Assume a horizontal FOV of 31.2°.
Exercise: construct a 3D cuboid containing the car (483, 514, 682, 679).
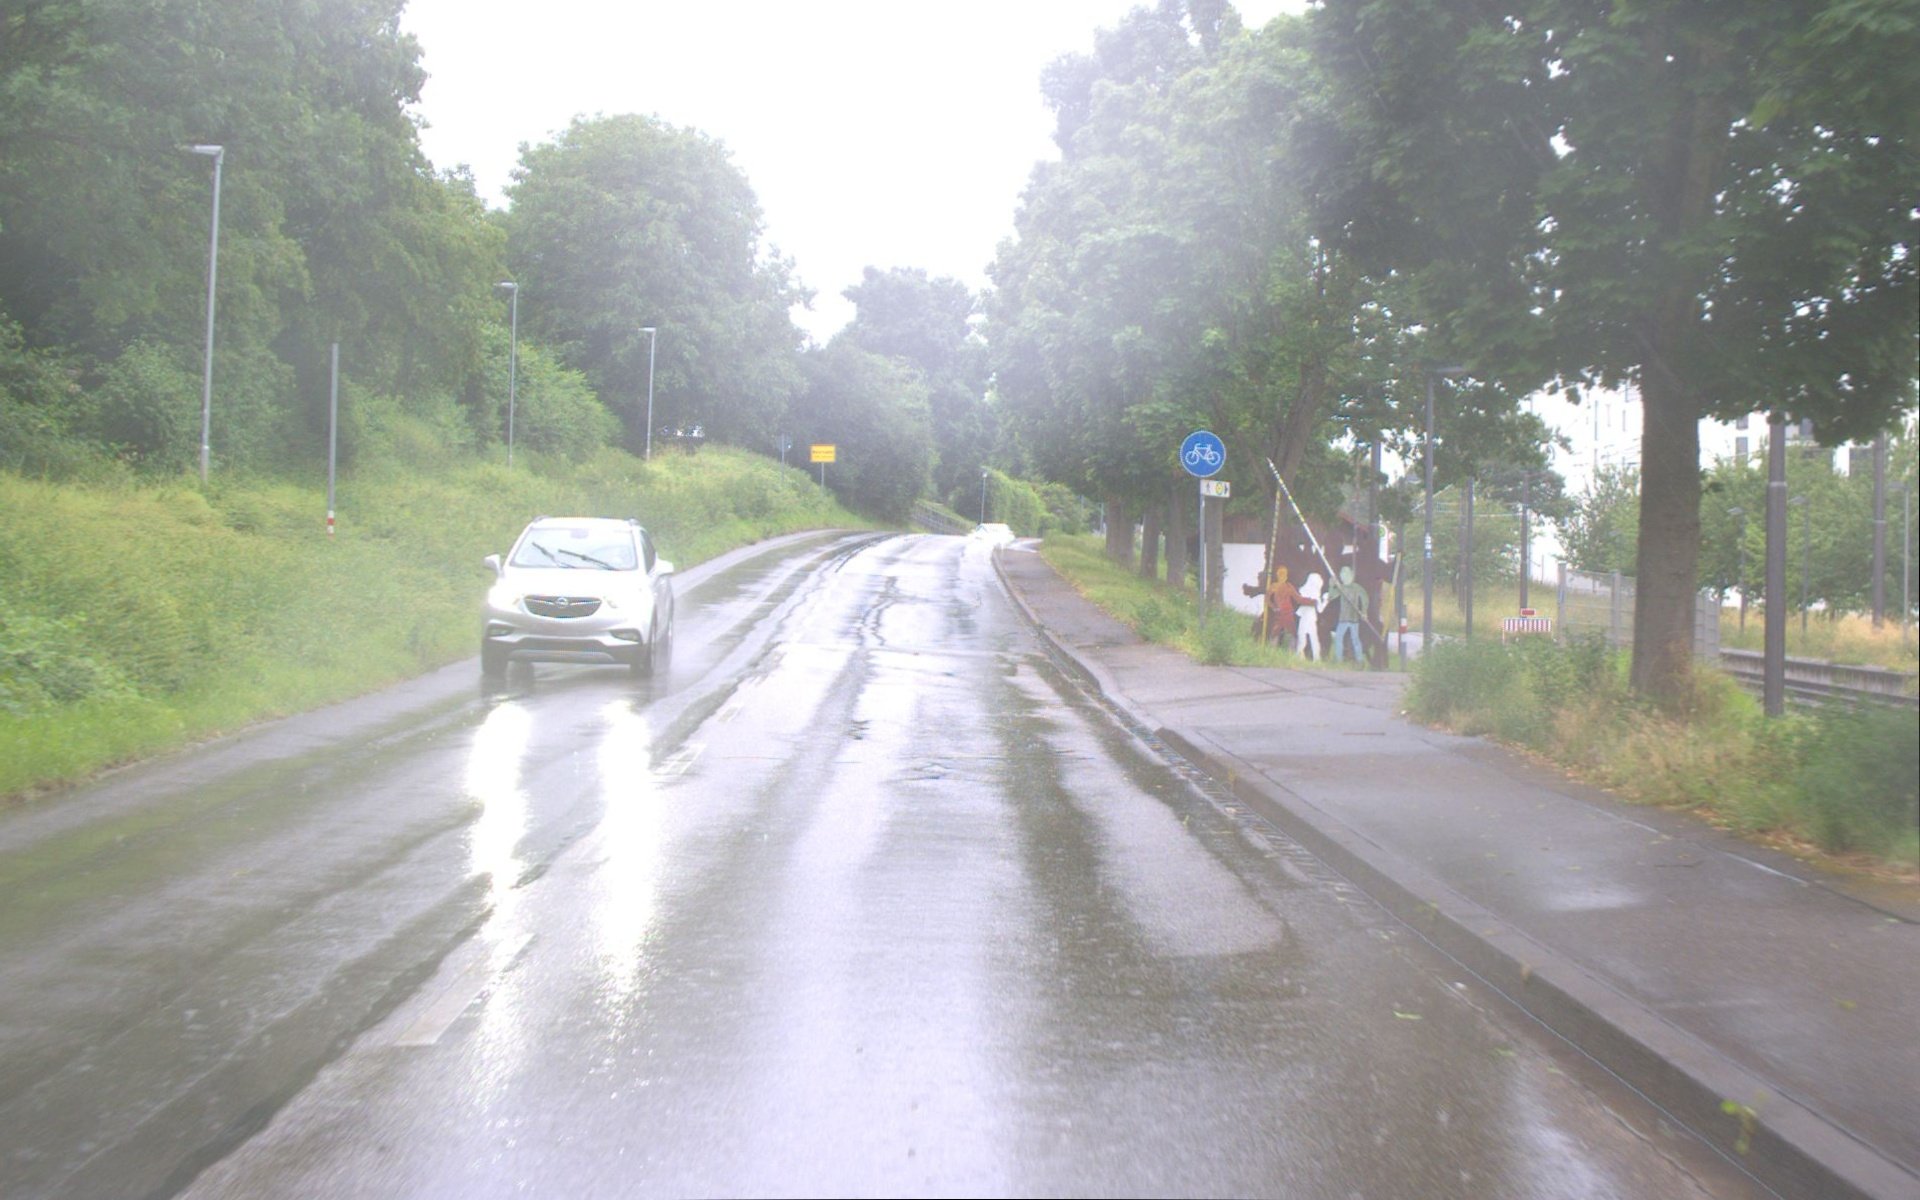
[{"bbox_3d":[-3.987,-0.083,36.852,1.744,1.606,4.088,2,2,-2],"label":"car"}]
